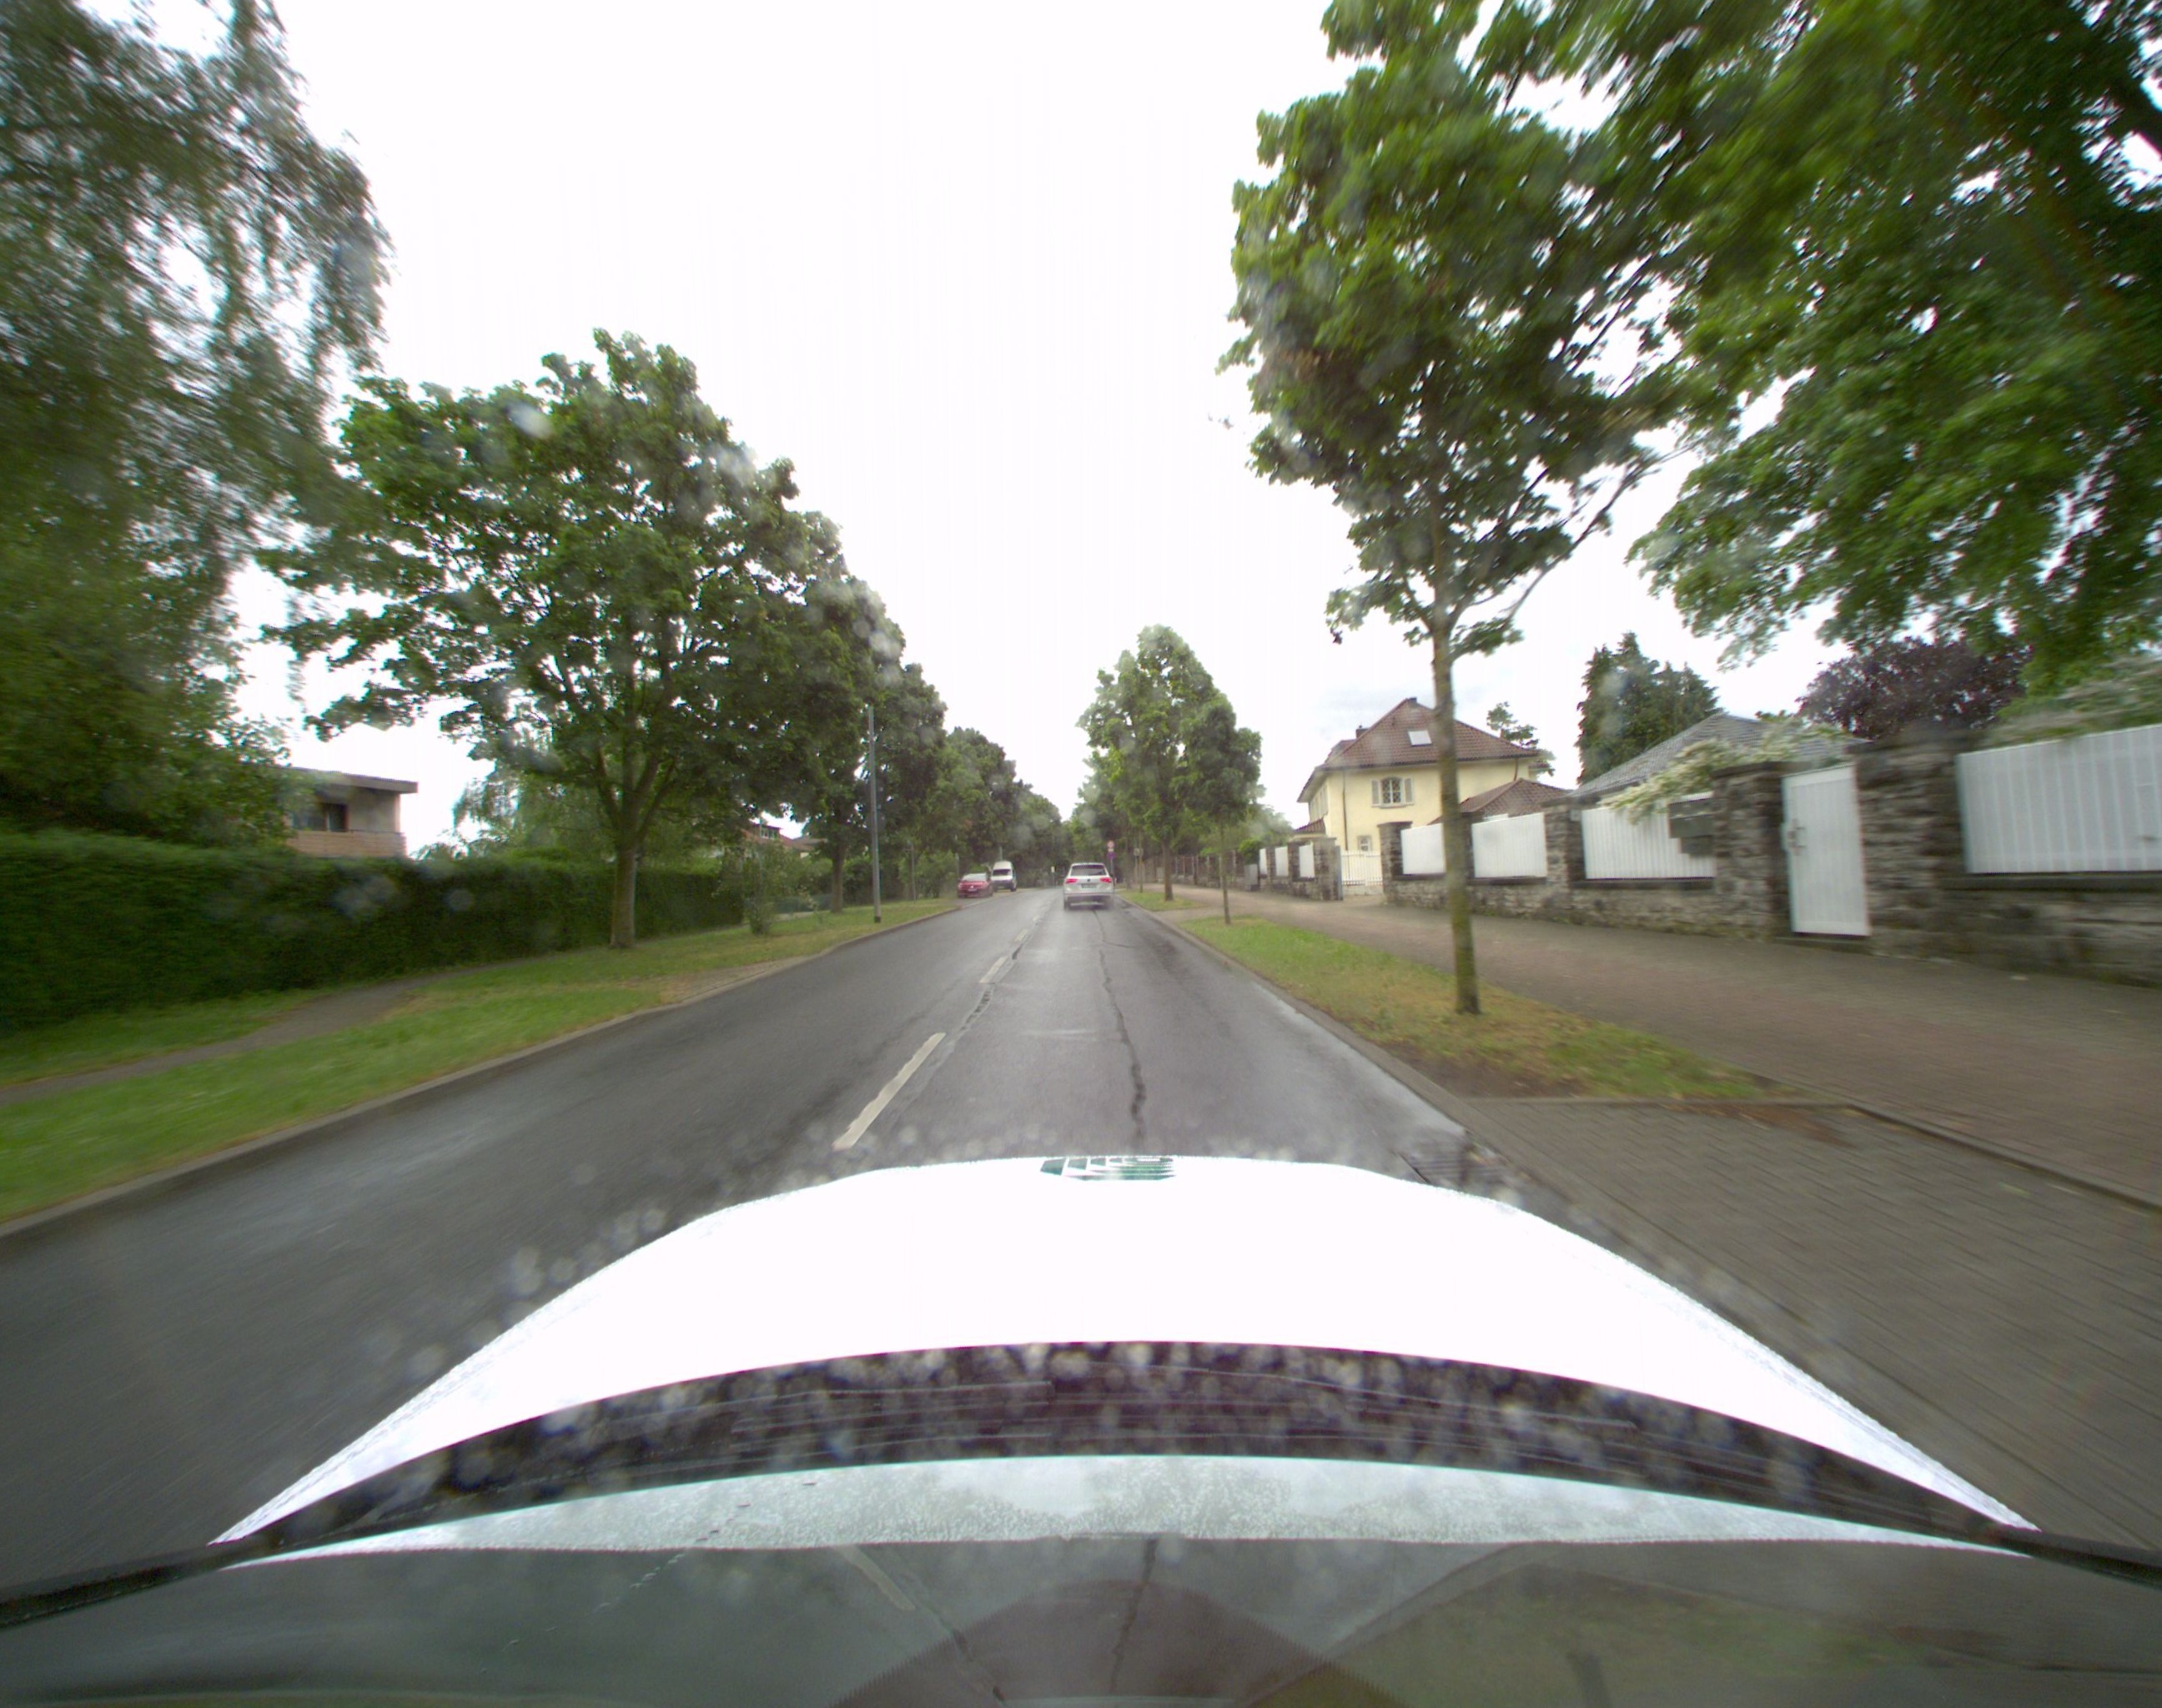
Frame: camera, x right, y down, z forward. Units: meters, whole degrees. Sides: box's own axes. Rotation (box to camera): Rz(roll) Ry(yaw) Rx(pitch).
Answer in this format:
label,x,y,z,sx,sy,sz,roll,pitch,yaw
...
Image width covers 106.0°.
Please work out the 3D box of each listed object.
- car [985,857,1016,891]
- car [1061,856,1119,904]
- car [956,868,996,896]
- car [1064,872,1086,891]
label,x,y,z,sx,sy,sz,roll,pitch,yaw
car,-6.531,1.655,66.644,1.988,2.561,5.229,-2,-2,-1
car,0.324,0.950,30.566,1.990,1.632,3.999,-1,-1,0
car,-6.041,1.610,47.161,1.838,1.466,4.246,-2,-1,-2
car,-0.482,2.380,71.115,1.834,1.487,4.000,-1,0,1
